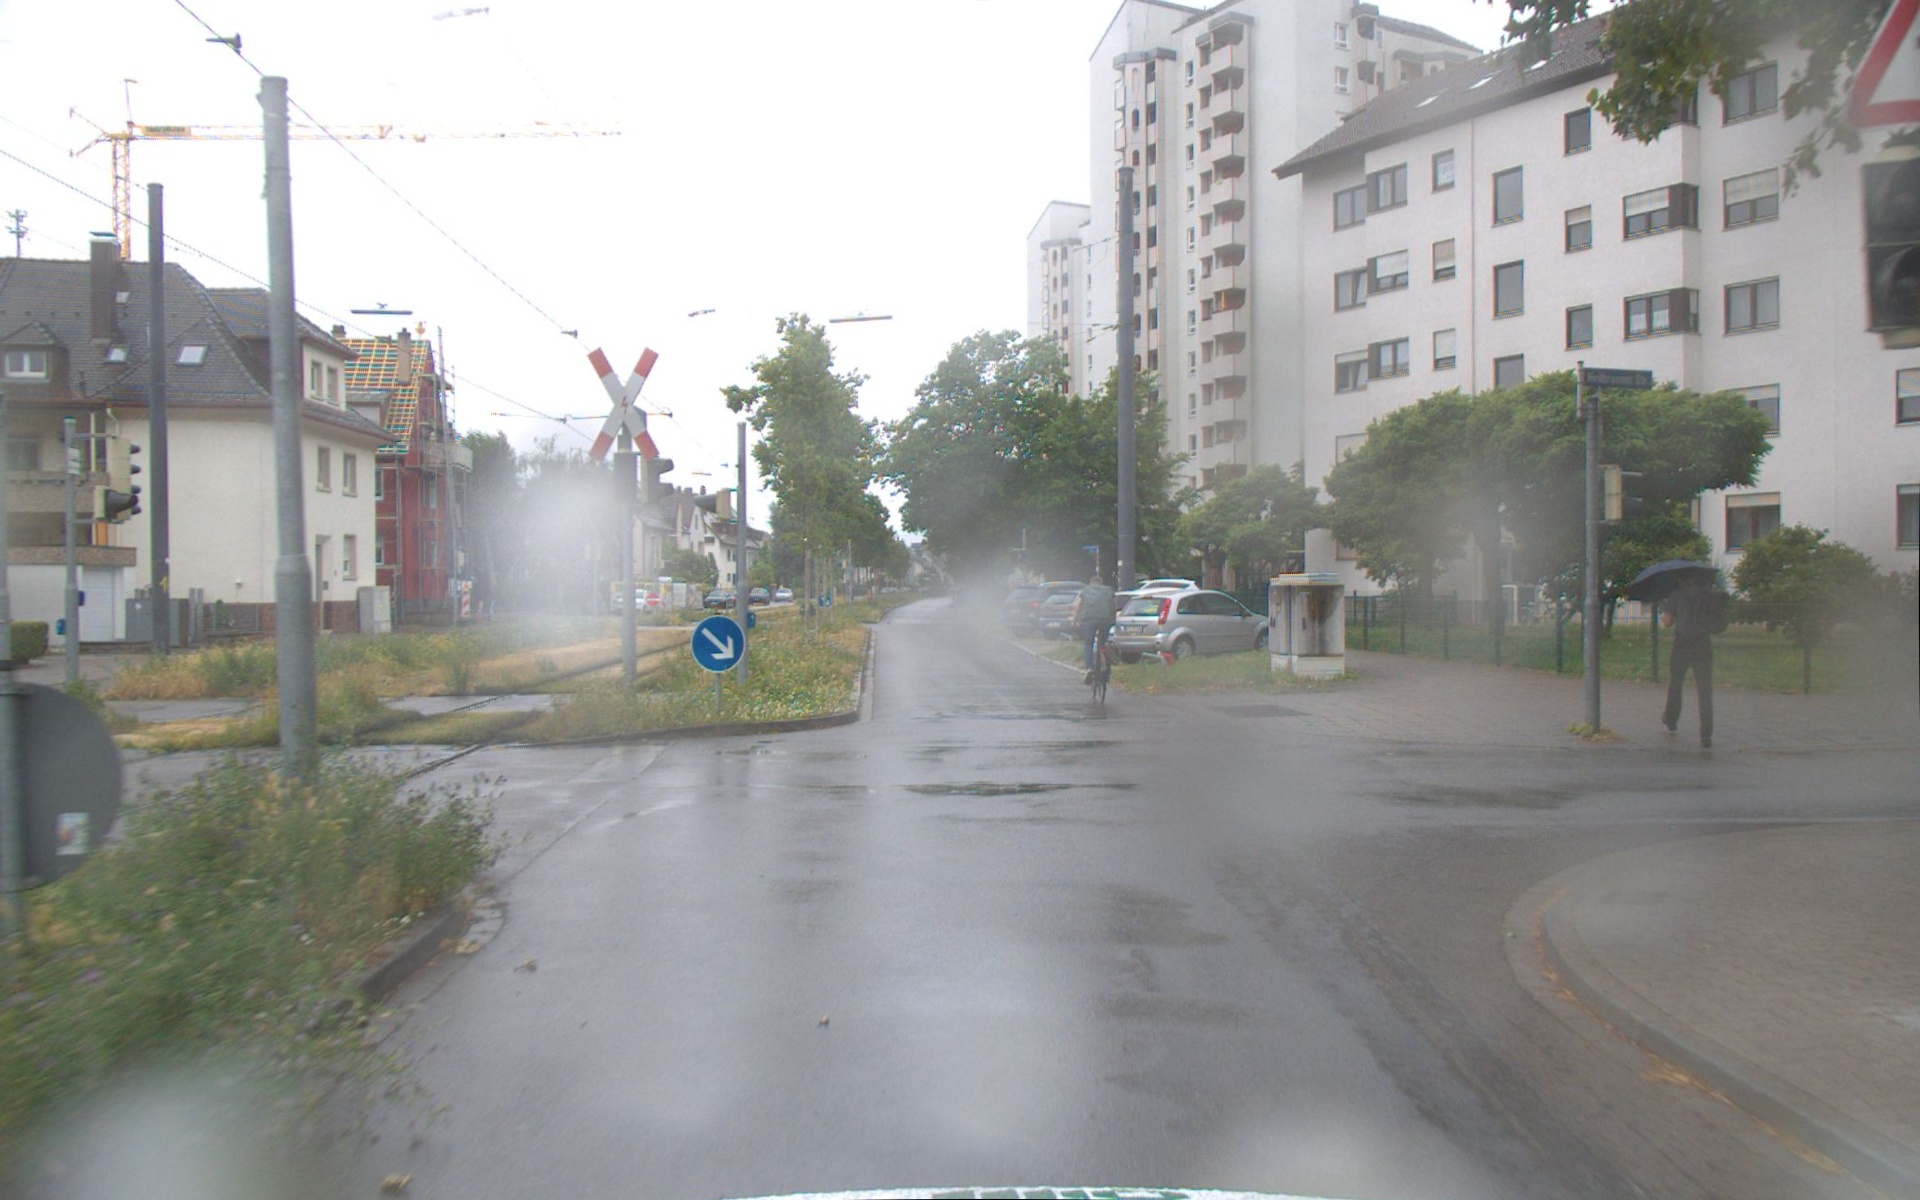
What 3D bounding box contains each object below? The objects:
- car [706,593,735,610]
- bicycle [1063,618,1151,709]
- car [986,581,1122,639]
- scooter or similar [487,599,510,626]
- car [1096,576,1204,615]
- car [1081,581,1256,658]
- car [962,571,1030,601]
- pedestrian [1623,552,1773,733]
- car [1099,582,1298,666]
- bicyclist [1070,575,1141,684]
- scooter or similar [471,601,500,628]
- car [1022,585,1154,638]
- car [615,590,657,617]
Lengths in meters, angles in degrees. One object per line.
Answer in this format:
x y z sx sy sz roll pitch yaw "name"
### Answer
-18.850 0.098 130.250 1.629 1.266 4.071 1 0 0 "car"
2.003 0.842 22.891 0.793 1.116 2.515 -1 0 -4 "bicycle"
3.005 0.283 52.066 4.316 1.680 1.828 -2 1 -44 "car"
-20.887 0.553 74.853 0.385 1.201 1.284 -1 0 13 "scooter or similar"
8.984 -0.220 78.269 4.726 1.776 1.991 -1 0 -17 "car"
4.723 0.420 37.182 3.966 1.534 1.679 -2 -1 -42 "car"
2.404 -0.943 110.342 4.098 1.749 1.977 -4 2 -33 "car"
7.815 0.429 17.598 1.076 1.845 1.435 -1 0 7 "pedestrian"
4.904 0.476 33.810 3.960 1.534 1.759 -2 -1 -39 "car"
1.999 0.393 22.835 0.794 1.458 1.059 -1 0 -5 "bicyclist"
-20.576 0.618 71.763 0.431 1.149 1.281 -1 0 28 "scooter or similar"
3.828 0.323 49.112 3.969 1.454 1.707 -2 1 -44 "car"
-19.692 0.194 100.680 1.675 1.569 4.422 2 1 0 "car"
